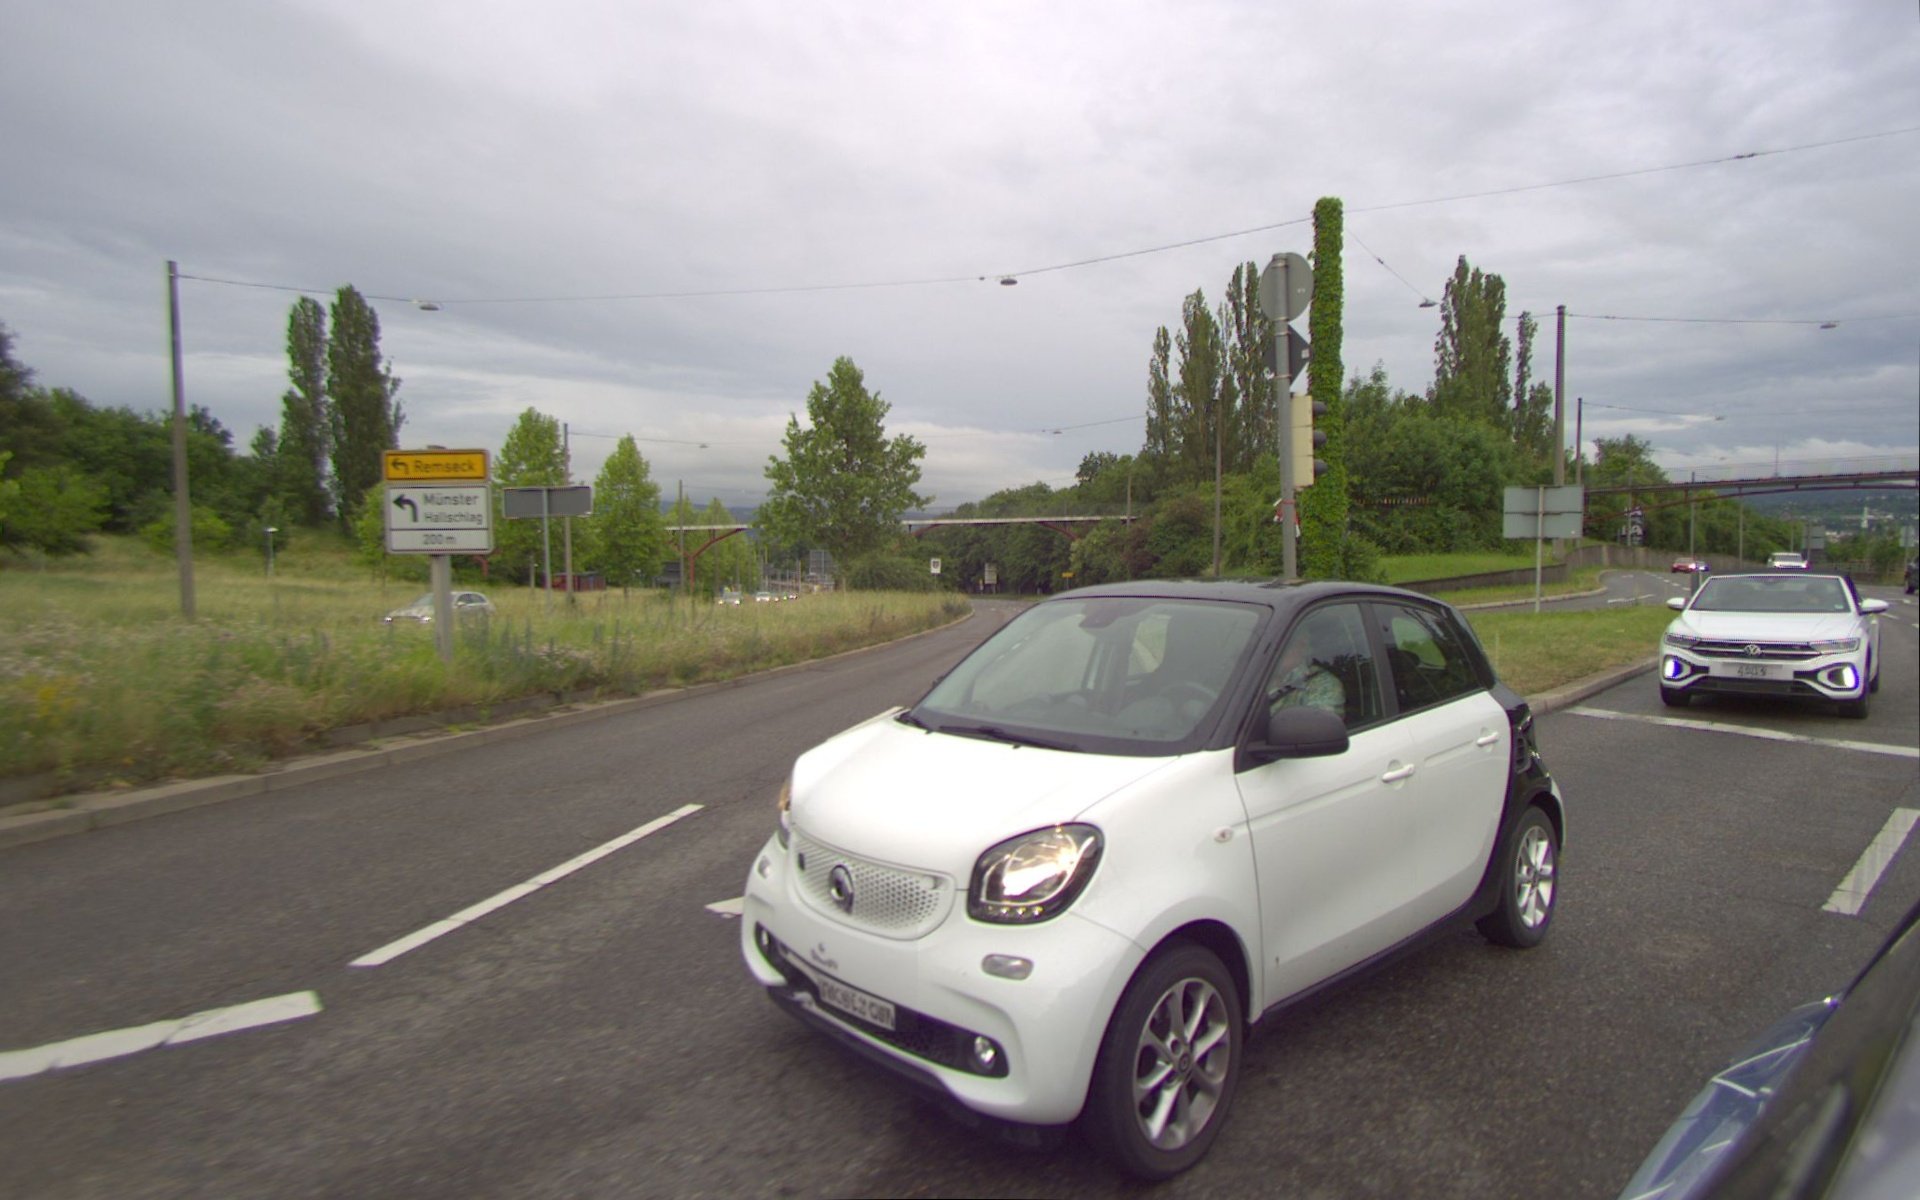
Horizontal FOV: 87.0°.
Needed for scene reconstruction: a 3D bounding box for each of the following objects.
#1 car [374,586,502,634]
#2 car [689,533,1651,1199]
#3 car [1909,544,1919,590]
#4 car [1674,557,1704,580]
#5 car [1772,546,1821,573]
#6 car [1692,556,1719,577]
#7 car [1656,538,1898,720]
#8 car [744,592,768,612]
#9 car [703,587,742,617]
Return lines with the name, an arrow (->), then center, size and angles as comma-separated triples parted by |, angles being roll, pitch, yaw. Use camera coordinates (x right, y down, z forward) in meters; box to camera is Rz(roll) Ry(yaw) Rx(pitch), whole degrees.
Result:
car -> -17.004, 0.281, 33.196 | 1.720, 1.445, 3.989 | 0, 1, 9
car -> 1.191, 0.619, 4.205 | 4.153, 1.541, 1.724 | 0, -1, -40
car -> 37.663, -1.269, 38.190 | 1.914, 1.757, 3.980 | 0, 1, 32
car -> 66.441, -2.862, 92.276 | 1.985, 2.039, 3.954 | 0, 1, 33
car -> 57.059, -2.715, 69.068 | 1.985, 1.713, 4.240 | 0, 1, 32
car -> 76.045, -3.367, 103.273 | 1.986, 2.039, 3.952 | 0, 1, 34
car -> 9.529, 0.200, 11.699 | 1.838, 1.558, 3.761 | 0, 5, 44
car -> -21.345, 0.210, 106.034 | 1.803, 1.972, 4.002 | -1, 1, -2
car -> -17.041, 0.140, 72.705 | 1.961, 2.039, 4.002 | -1, 1, -2
